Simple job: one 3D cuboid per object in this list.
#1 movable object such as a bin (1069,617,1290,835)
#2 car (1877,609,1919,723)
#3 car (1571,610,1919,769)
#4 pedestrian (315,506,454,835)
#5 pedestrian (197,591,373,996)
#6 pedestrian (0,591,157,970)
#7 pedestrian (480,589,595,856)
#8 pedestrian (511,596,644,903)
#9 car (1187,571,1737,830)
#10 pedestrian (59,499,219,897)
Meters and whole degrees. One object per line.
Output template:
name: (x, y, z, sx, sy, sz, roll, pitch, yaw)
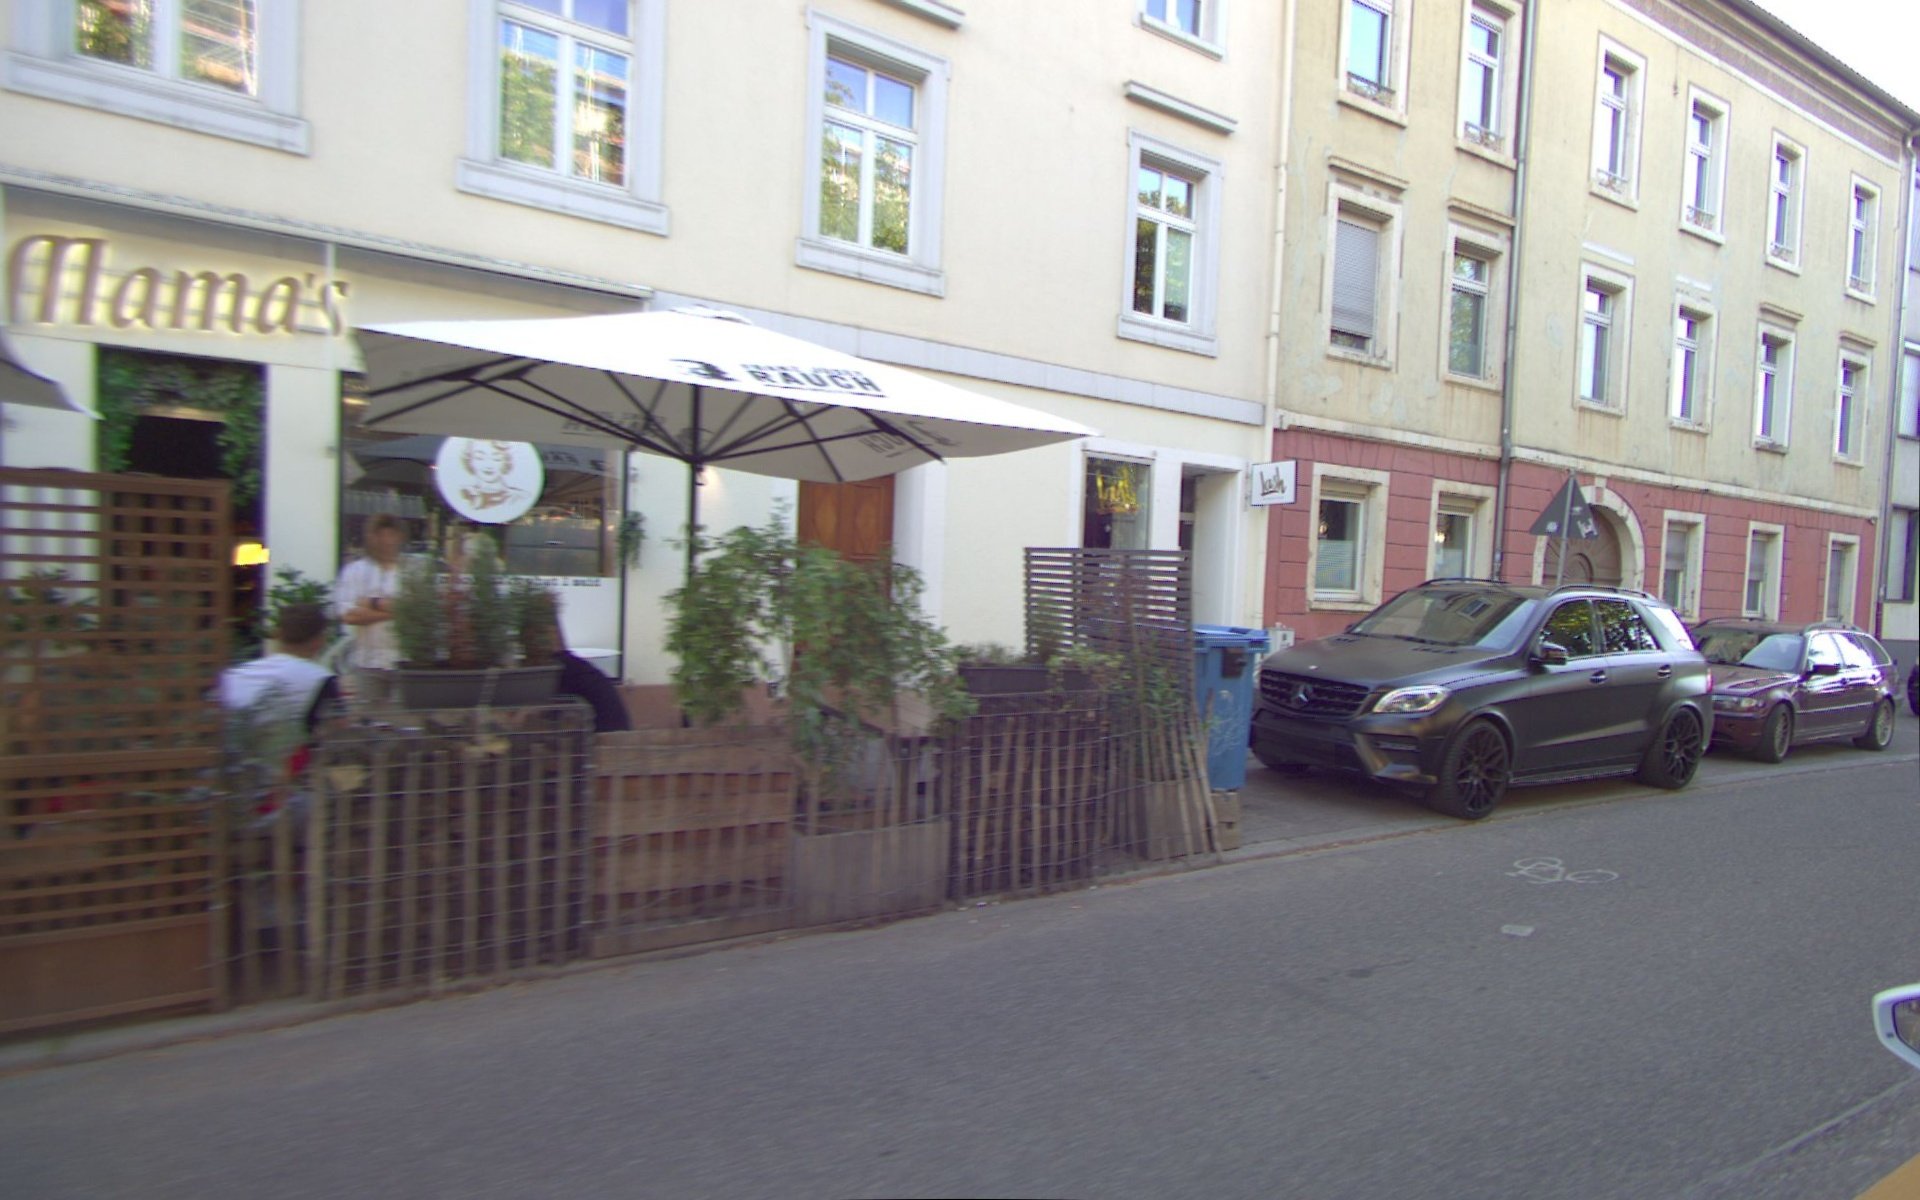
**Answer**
movable object such as a bin: (1.498, 0.806, 7.016, 0.918, 1.313, 1.211, 1, 1, -27)
car: (16.523, 1.053, 15.588, 4.290, 1.690, 1.927, 1, 1, -26)
car: (9.155, 0.924, 11.612, 4.375, 1.500, 1.645, 1, 1, -30)
pedestrian: (-3.285, 0.388, 5.769, 0.588, 1.799, 0.437, 1, 2, -19)
pedestrian: (-2.620, 0.704, 3.937, 0.495, 1.452, 0.469, 1, 2, -27)
pedestrian: (-3.599, 0.680, 4.071, 0.483, 1.410, 0.520, 1, 2, -35)
pedestrian: (-2.399, 0.657, 5.693, 0.483, 1.410, 0.520, 1, 2, -35)
pedestrian: (-1.916, 0.700, 5.015, 0.483, 1.410, 0.520, 1, 2, -35)
car: (4.402, 0.686, 8.619, 4.728, 1.702, 1.913, 1, 1, -30)
pedestrian: (-3.969, 0.443, 4.888, 0.433, 1.799, 0.594, 1, 2, -23)
